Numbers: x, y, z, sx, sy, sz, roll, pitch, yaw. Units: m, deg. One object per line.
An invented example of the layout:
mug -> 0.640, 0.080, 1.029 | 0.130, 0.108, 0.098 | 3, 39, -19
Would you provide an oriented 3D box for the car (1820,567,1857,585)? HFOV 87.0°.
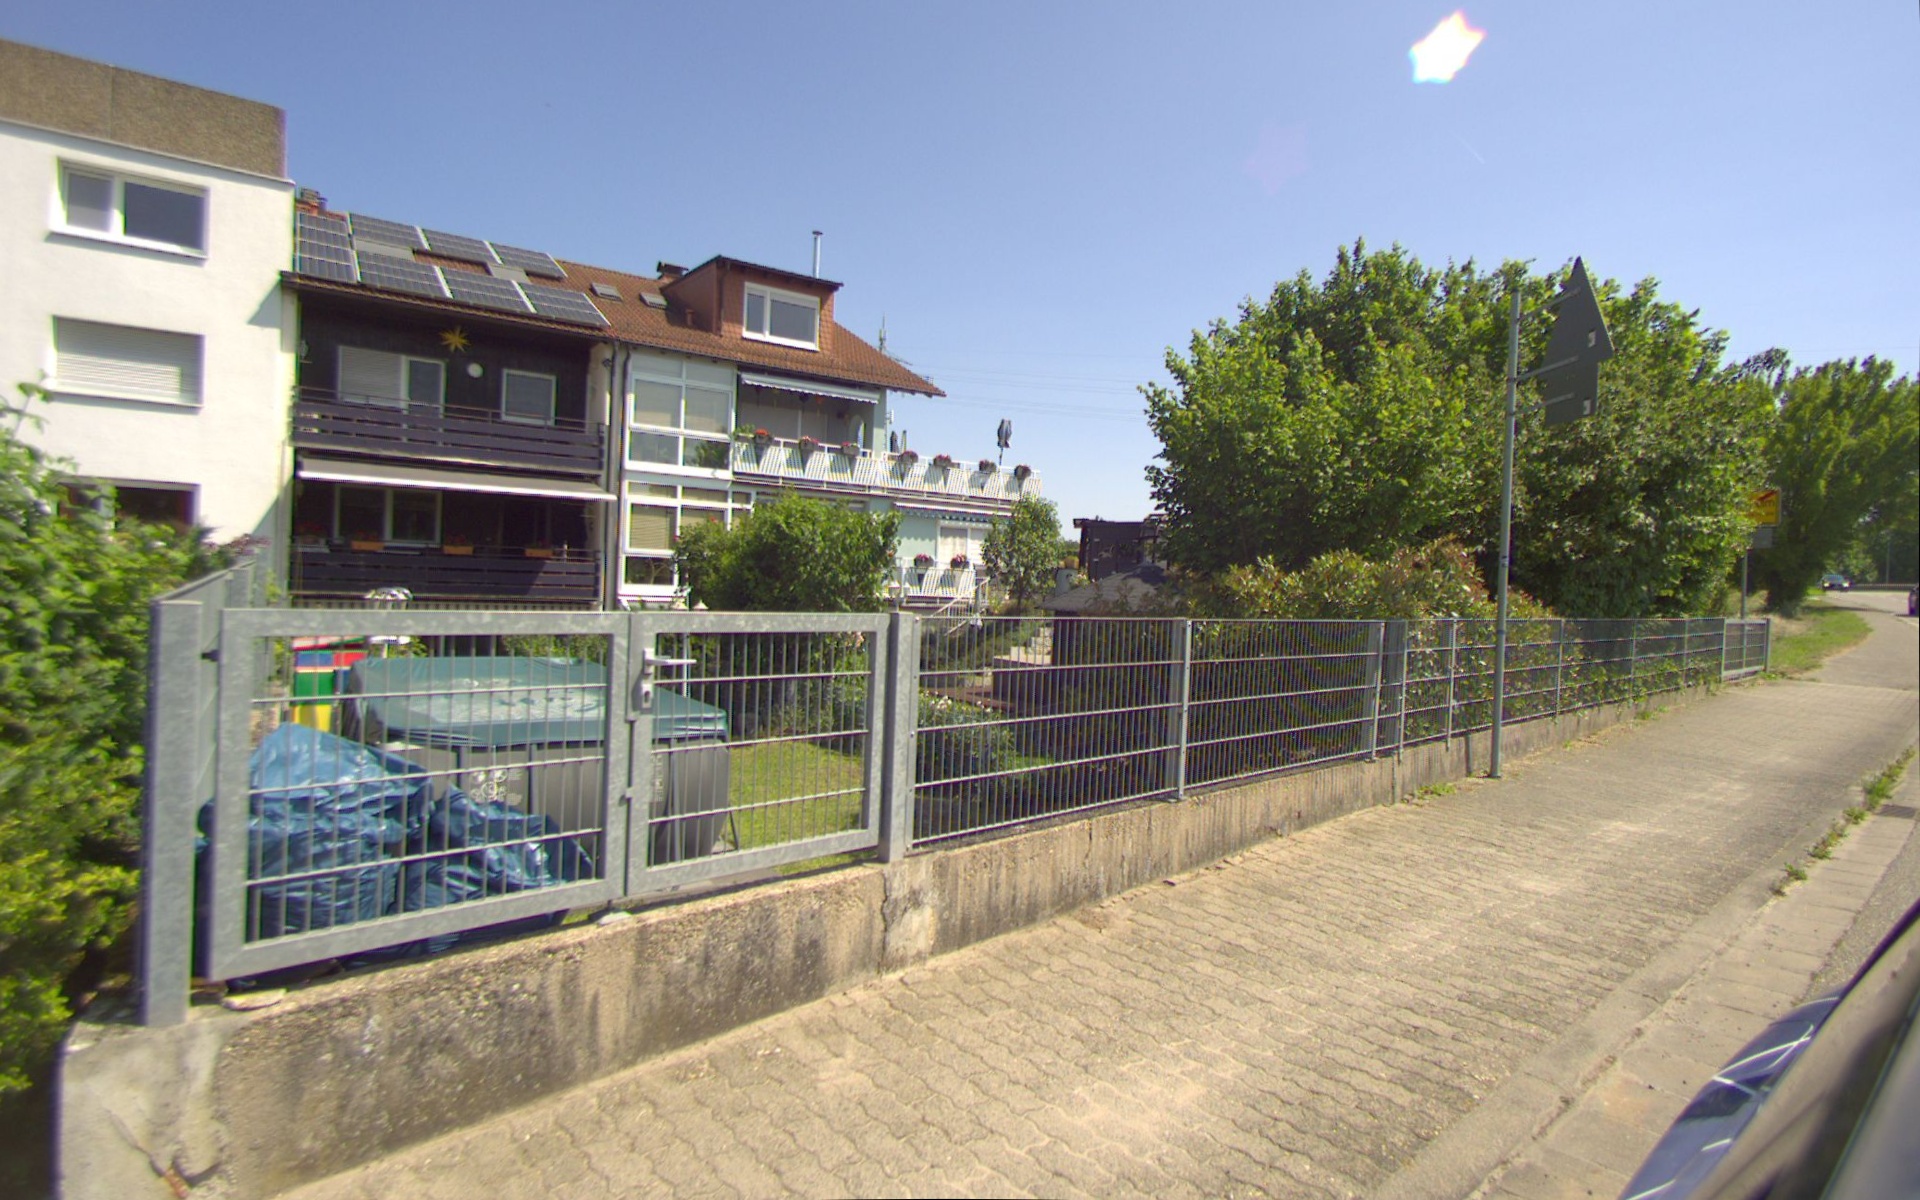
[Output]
car -> 79.772, -2.171, 91.932 | 1.986, 1.551, 3.951 | 1, 1, 34
